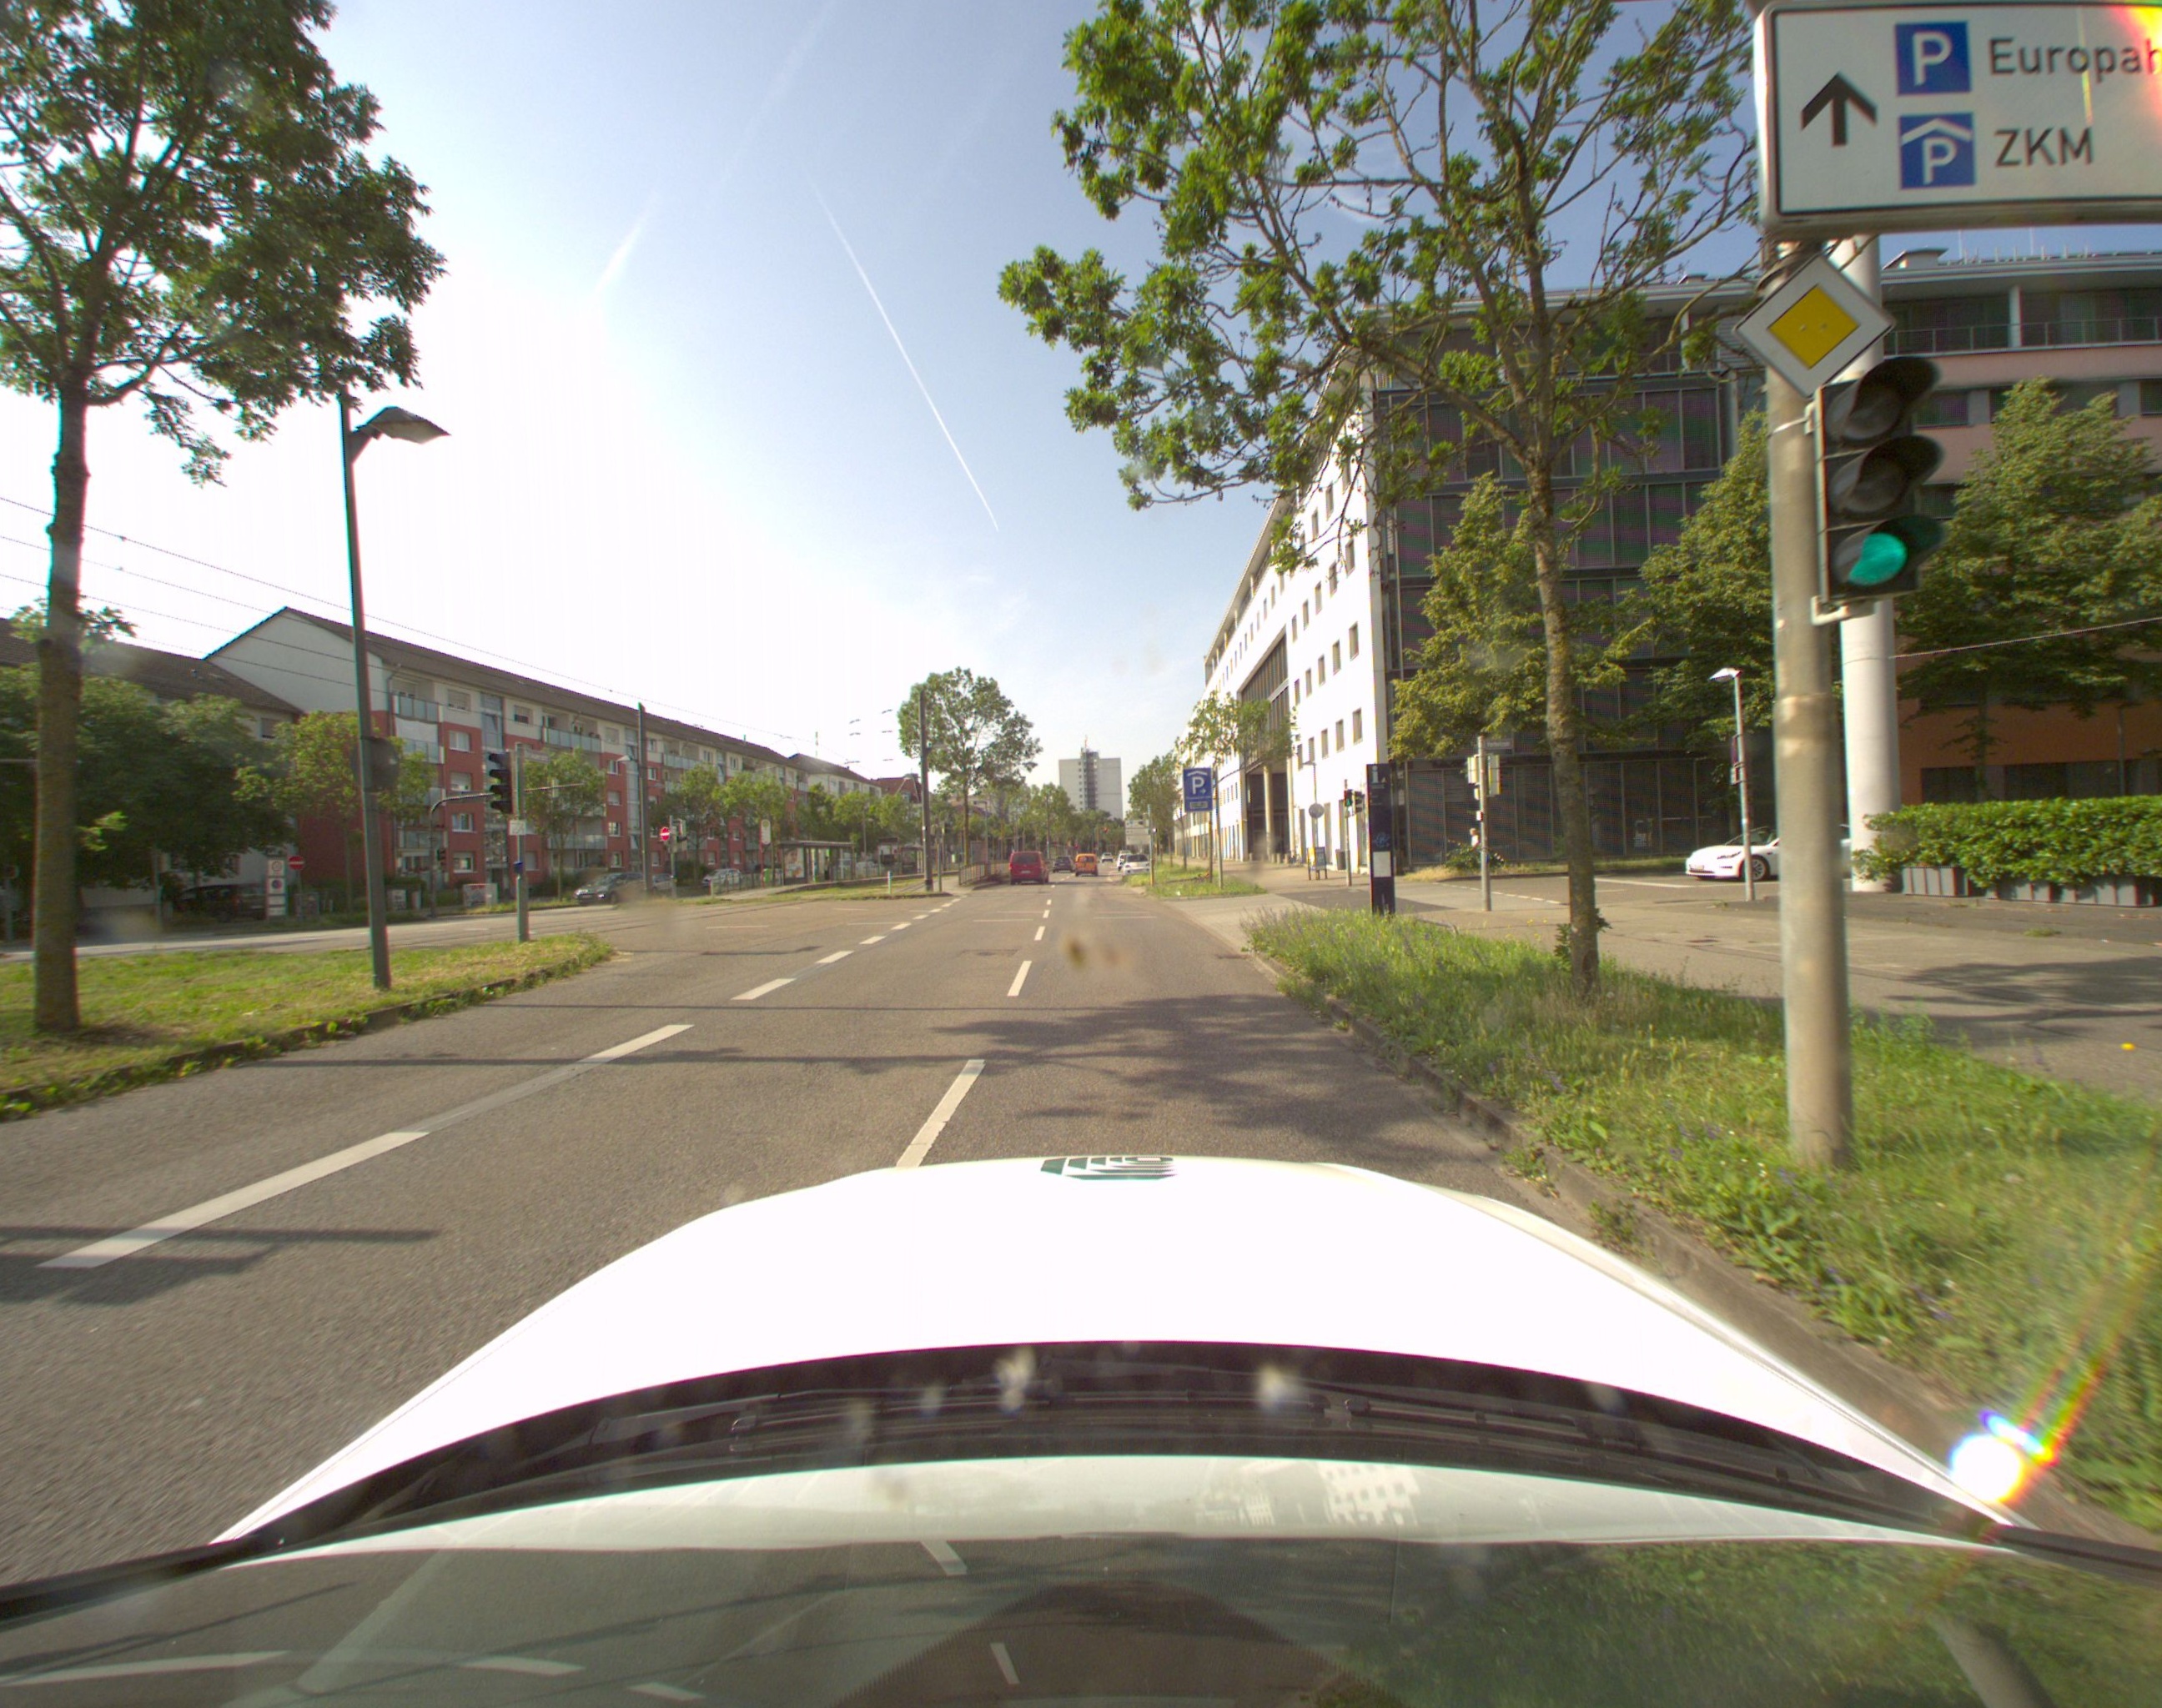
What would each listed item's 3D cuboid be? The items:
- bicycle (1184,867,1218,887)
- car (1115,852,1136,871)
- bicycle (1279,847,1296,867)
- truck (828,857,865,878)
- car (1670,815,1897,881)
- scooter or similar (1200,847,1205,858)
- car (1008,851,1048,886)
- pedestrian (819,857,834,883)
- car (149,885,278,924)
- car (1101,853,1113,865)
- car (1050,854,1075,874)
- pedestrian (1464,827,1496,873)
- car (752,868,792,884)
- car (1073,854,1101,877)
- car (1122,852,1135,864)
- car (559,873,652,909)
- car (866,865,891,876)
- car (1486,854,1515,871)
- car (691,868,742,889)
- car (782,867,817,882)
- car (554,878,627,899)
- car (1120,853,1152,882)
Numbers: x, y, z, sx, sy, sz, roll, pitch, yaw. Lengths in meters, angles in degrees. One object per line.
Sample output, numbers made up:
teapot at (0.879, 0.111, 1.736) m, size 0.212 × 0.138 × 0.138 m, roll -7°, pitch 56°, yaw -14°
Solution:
bicycle at (4.897, 0.925, 33.176) m, size 1.263 × 0.632 × 0.522 m, roll -8°, pitch -2°, yaw 9°
car at (4.013, 0.683, 73.446) m, size 1.682 × 1.526 × 3.854 m, roll -4°, pitch 0°, yaw 3°
bicycle at (11.557, 0.149, 45.537) m, size 0.492 × 1.086 × 1.550 m, roll -4°, pitch 0°, yaw 0°
truck at (-30.307, 1.708, 105.486) m, size 2.356 × 2.563 × 7.244 m, roll -1°, pitch 0°, yaw 2°
car at (18.445, -0.158, 21.552) m, size 4.303 × 1.465 × 1.902 m, roll -3°, pitch 0°, yaw 2°
scooter or similar at (13.357, -0.189, 89.573) m, size 0.460 × 1.213 × 1.258 m, roll -4°, pitch 0°, yaw 9°
car at (-2.982, 0.809, 46.700) m, size 1.867 × 1.853 × 4.001 m, roll -2°, pitch 0°, yaw 2°
pedestrian at (-16.813, 1.062, 53.865) m, size 0.670 × 1.653 × 0.794 m, roll -2°, pitch -1°, yaw -2°
car at (-40.647, 2.359, 38.219) m, size 3.970 × 1.695 × 2.002 m, roll -1°, pitch 0°, yaw 3°
car at (4.390, 0.820, 136.370) m, size 1.986 × 2.013 × 4.001 m, roll -2°, pitch 0°, yaw 2°
car at (-1.649, 0.878, 73.880) m, size 1.985 × 1.706 × 4.003 m, roll -2°, pitch 0°, yaw 3°
pedestrian at (14.441, -0.155, 29.487) m, size 0.774 × 1.616 × 0.713 m, roll -2°, pitch -1°, yaw 1°
car at (-28.607, 2.012, 75.503) m, size 1.973 × 1.360 × 4.071 m, roll -1°, pitch 0°, yaw 2°
car at (0.499, 0.856, 62.996) m, size 1.868 × 1.696 × 3.977 m, roll -2°, pitch 0°, yaw 3°
car at (7.971, 0.679, 137.312) m, size 1.985 × 2.013 × 4.003 m, roll -2°, pitch 0°, yaw 3°
car at (-25.678, 1.947, 44.192) m, size 1.985 × 1.706 × 4.717 m, roll -2°, pitch 0°, yaw 4°
car at (-26.630, 2.122, 107.151) m, size 1.973 × 1.379 × 4.686 m, roll -1°, pitch 0°, yaw 2°
car at (15.254, 0.303, 29.614) m, size 0.763 × 0.587 × 0.498 m, roll -2°, pitch 0°, yaw 0°
car at (-29.297, 1.979, 65.632) m, size 1.973 × 1.556 × 4.539 m, roll -1°, pitch 0°, yaw 2°
car at (-27.950, 2.028, 80.992) m, size 1.973 × 1.360 × 4.071 m, roll -1°, pitch 0°, yaw 2°
car at (-30.029, 2.091, 50.019) m, size 1.826 × 1.148 × 4.167 m, roll -1°, pitch 0°, yaw 2°
car at (3.175, 0.748, 47.455) m, size 1.714 × 1.519 × 3.783 m, roll -2°, pitch 0°, yaw 2°
